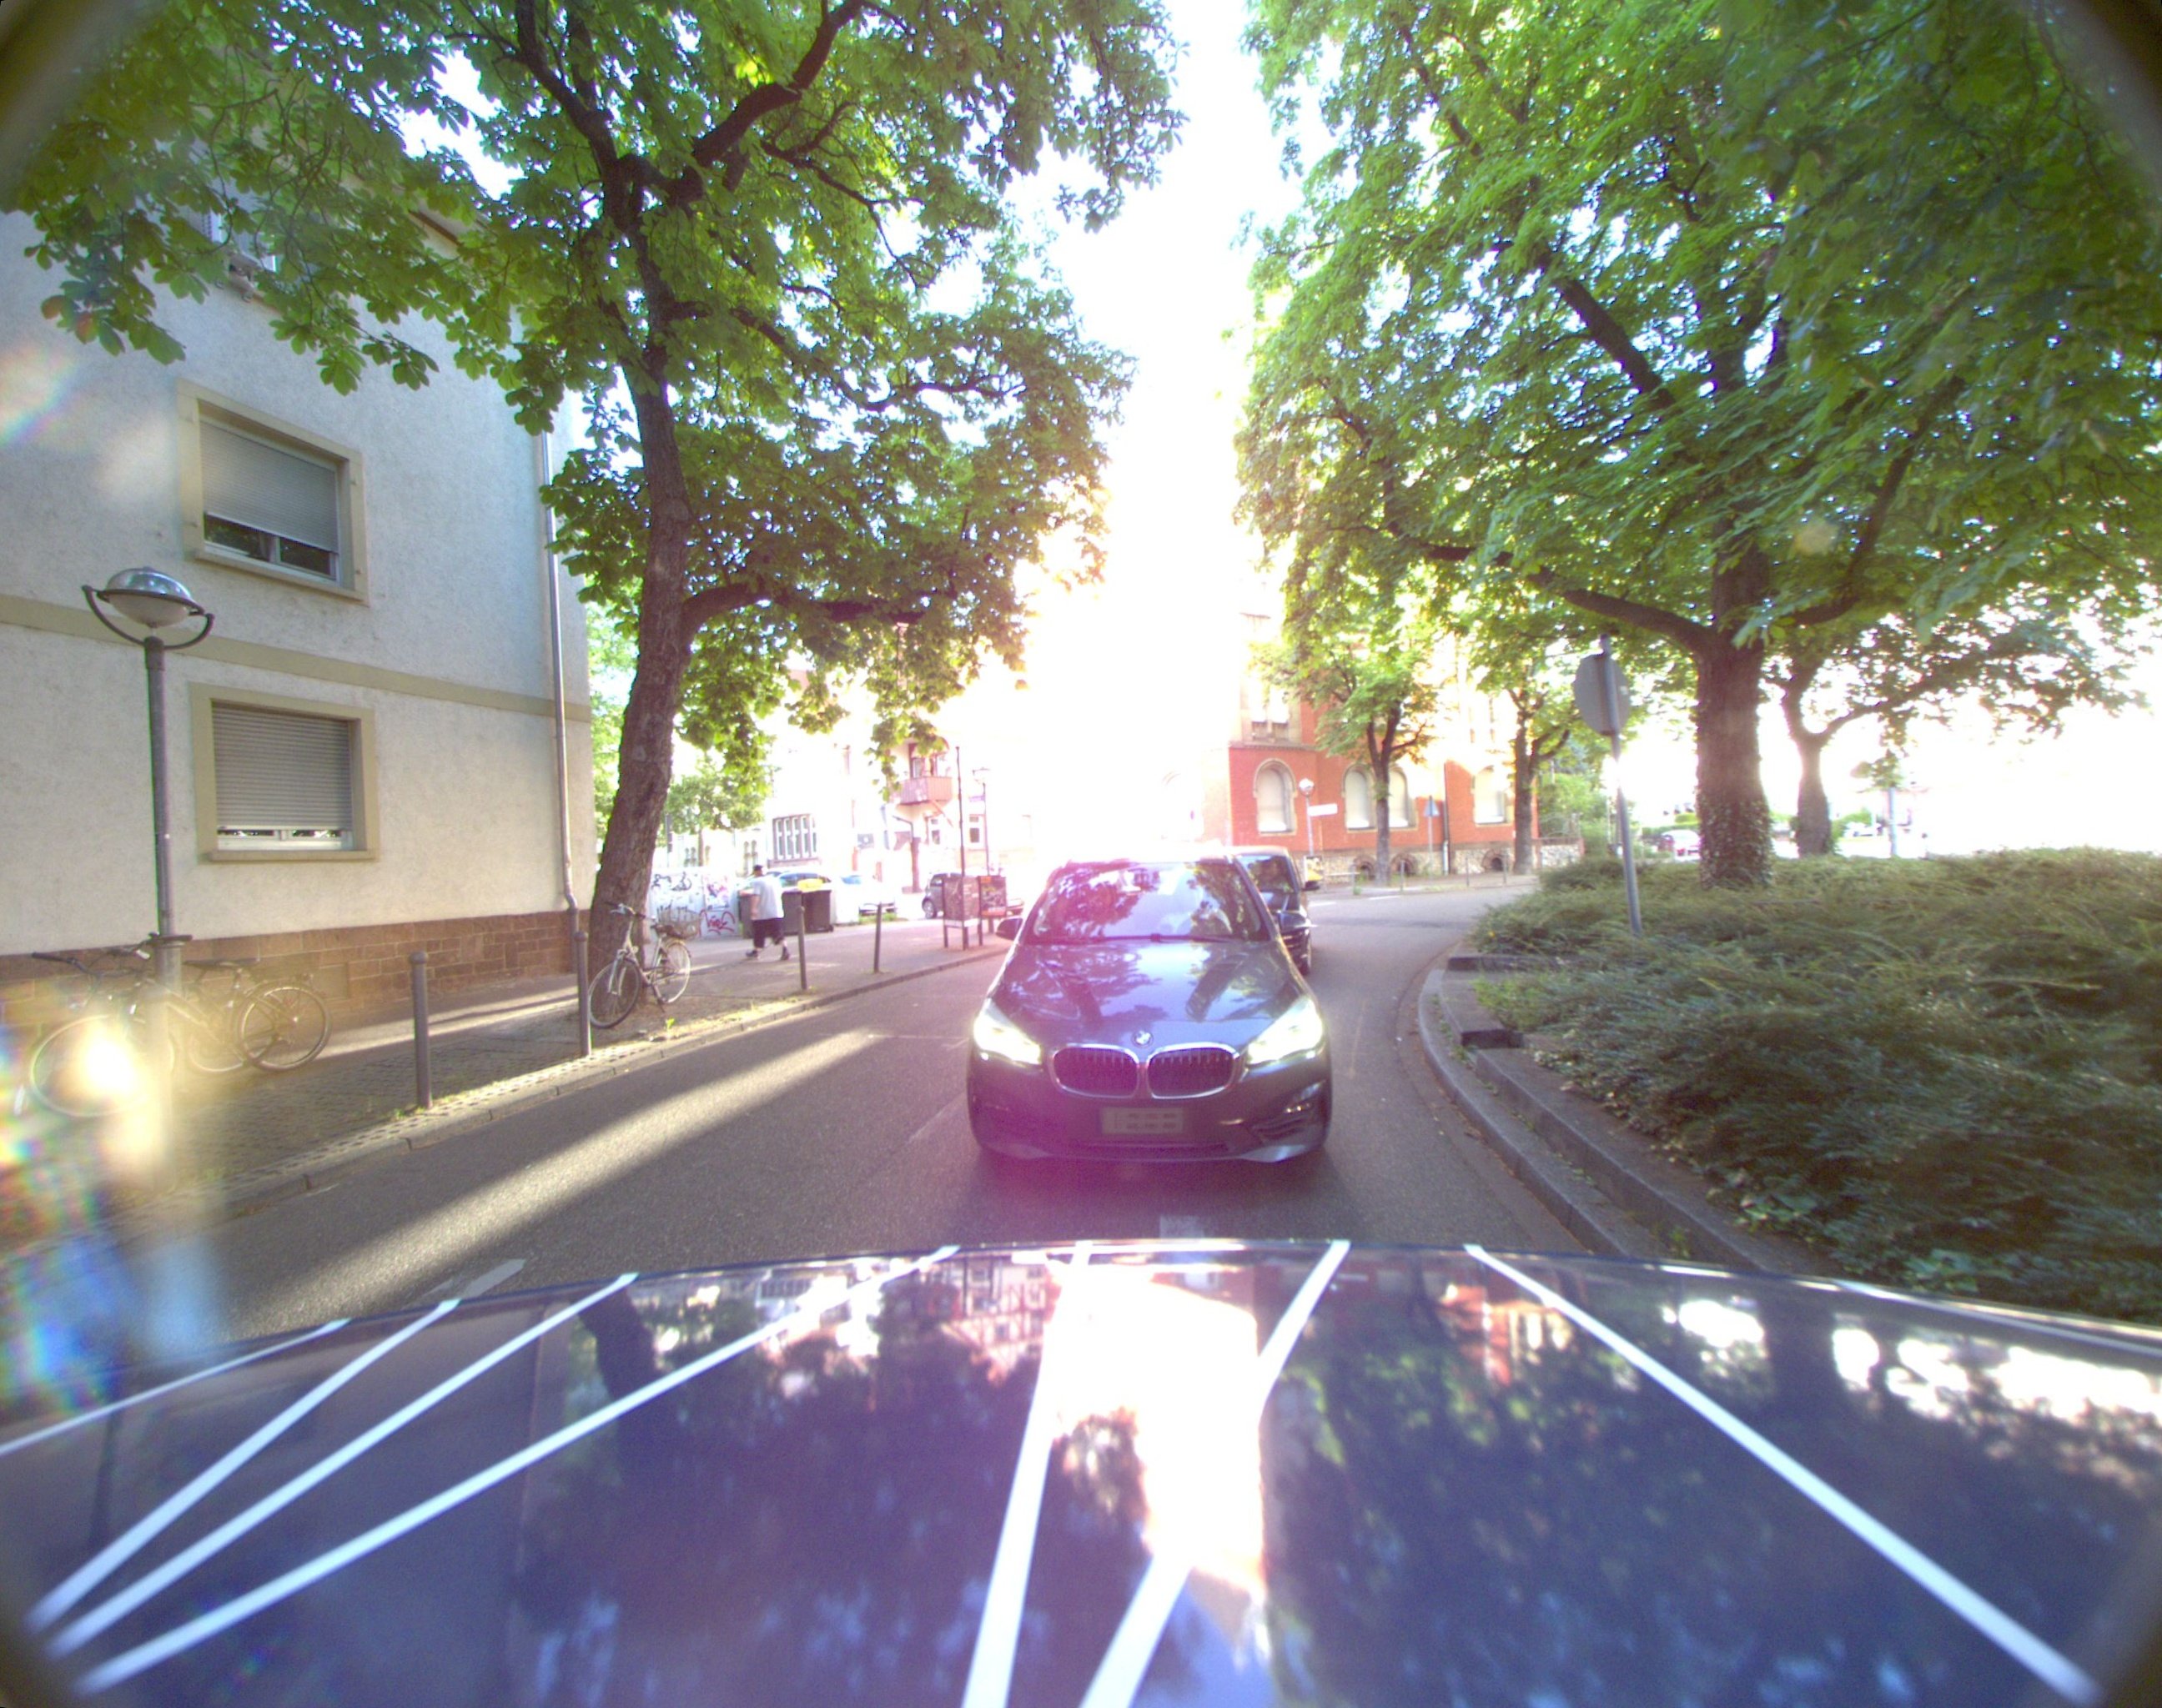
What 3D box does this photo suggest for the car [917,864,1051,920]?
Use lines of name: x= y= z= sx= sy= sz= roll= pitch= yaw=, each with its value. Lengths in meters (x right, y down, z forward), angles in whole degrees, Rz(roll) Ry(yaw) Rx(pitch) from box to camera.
car: x=-3.033 y=1.177 z=23.442 sx=4.041 sy=1.543 sz=1.700 roll=-3 pitch=-1 yaw=39

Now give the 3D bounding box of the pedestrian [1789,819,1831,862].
pedestrian: x=28.902 y=-0.522 z=30.135 sx=0.905 sy=1.625 sz=0.725 roll=-5 pitch=0 yaw=-13

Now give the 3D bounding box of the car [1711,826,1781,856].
car: x=35.156 y=-0.706 z=40.286 sx=1.733 sy=1.409 sz=4.006 roll=-3 pitch=0 yaw=25

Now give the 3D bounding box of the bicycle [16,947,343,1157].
bicycle: x=-6.364 y=1.326 z=5.511 sx=0.334 sy=1.087 sz=1.636 roll=-3 pitch=0 yaw=1

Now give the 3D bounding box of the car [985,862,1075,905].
car: x=-1.978 y=1.131 z=29.058 sx=3.207 sy=1.530 sz=1.495 roll=-2 pitch=0 yaw=38

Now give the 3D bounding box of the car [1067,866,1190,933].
car: x=1.037 y=1.021 z=18.206 sx=1.474 sy=1.381 sz=3.395 roll=-3 pitch=0 yaw=-24

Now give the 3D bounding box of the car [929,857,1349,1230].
car: x=0.465 y=0.860 z=5.476 sx=1.792 sy=1.569 sz=4.262 roll=-2 pitch=0 yaw=6

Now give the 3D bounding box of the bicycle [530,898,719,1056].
bicycle: x=-4.599 y=1.171 z=7.853 sx=0.767 sy=1.297 sz=1.903 roll=-3 pitch=0 yaw=-1

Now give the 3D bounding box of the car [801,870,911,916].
car: x=-8.428 y=1.465 z=28.340 sx=4.175 sy=1.543 sz=1.809 roll=-3 pitch=-1 yaw=39

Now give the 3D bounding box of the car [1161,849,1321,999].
car: x=2.256 y=0.797 z=10.316 sx=1.678 sy=1.619 sz=3.691 roll=-3 pitch=0 yaw=15

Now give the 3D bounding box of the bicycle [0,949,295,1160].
bicycle: x=-6.726 y=1.339 z=5.475 sx=0.334 sy=1.087 sz=1.636 roll=-3 pitch=0 yaw=1

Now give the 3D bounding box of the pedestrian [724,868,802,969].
pedestrian: x=-5.245 y=1.049 z=12.553 sx=0.944 sy=1.583 sz=0.643 roll=-1 pitch=1 yaw=8

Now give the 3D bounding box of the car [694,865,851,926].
car: x=-8.804 y=1.152 z=21.937 sx=1.672 sy=1.417 sz=3.811 roll=-3 pitch=0 yaw=36
